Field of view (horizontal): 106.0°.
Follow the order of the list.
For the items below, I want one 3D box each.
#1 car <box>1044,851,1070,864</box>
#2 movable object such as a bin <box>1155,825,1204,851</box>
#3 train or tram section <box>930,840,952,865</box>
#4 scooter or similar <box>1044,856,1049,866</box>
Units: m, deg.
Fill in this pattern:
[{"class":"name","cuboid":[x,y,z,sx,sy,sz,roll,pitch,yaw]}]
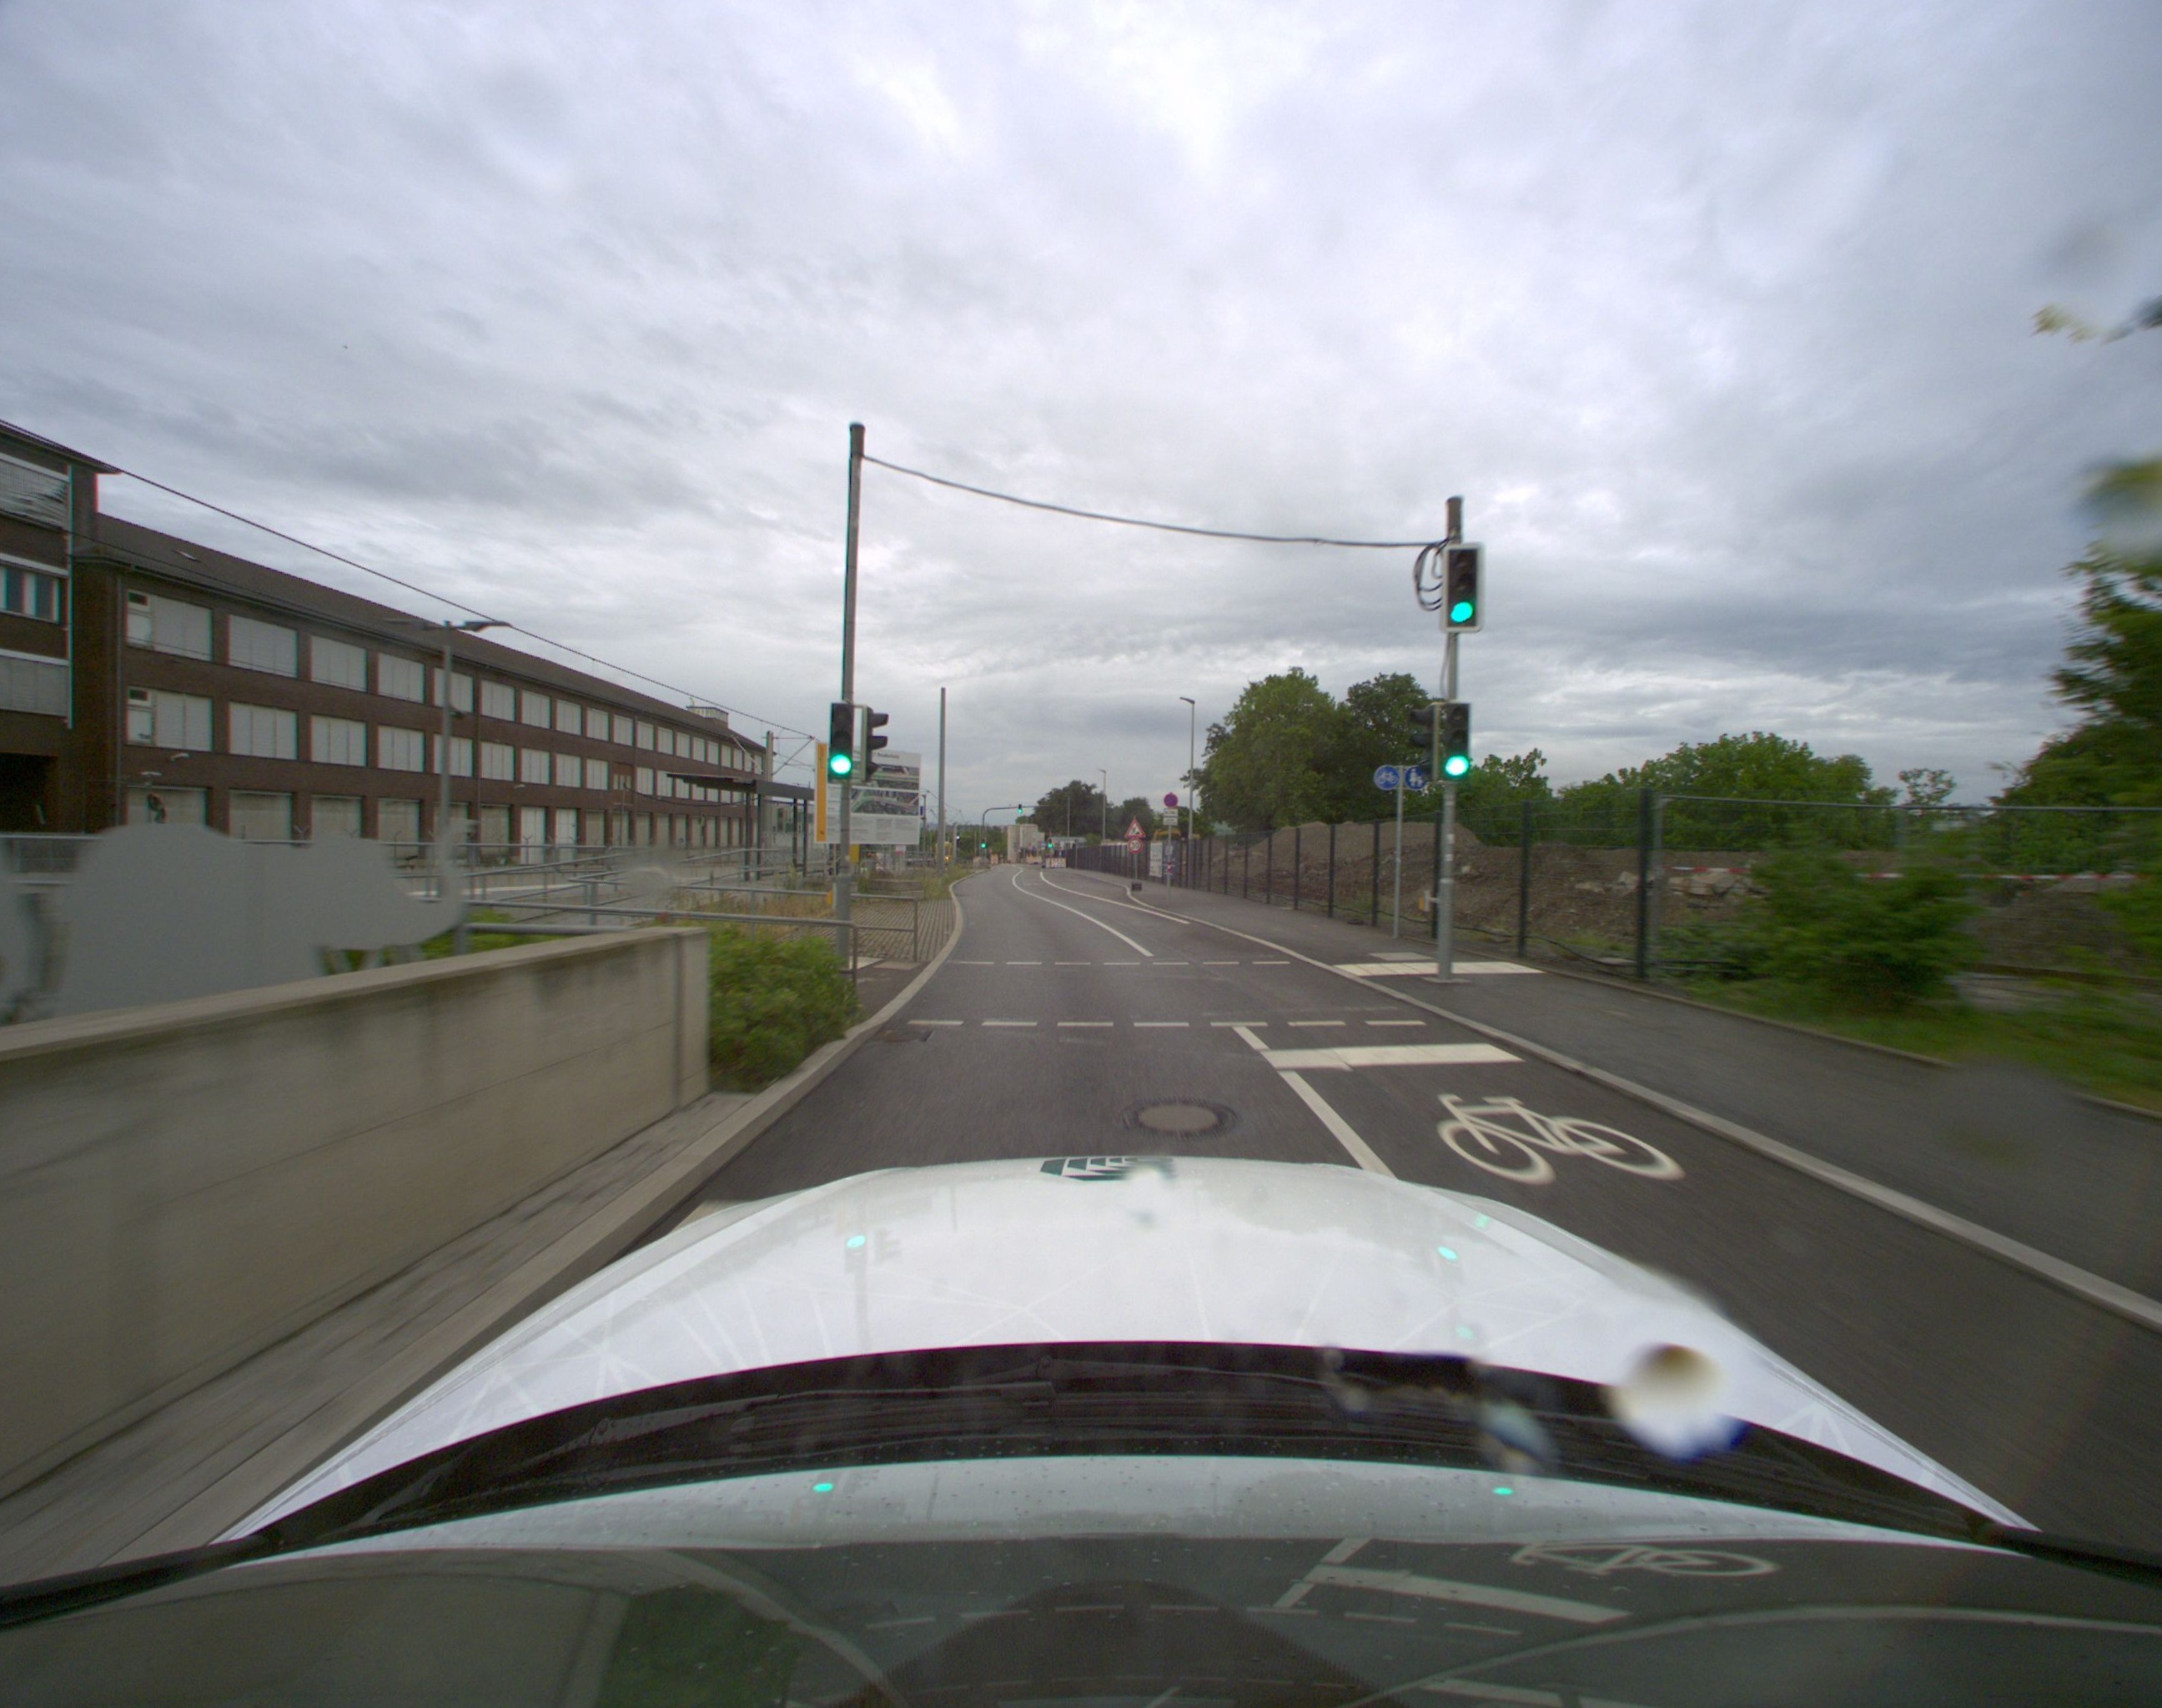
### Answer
[{"class":"car","cuboid":[-3.225,0.517,112.099,1.803,1.794,4.433,0,0,24]},{"class":"movable object such as a bin","cuboid":[23.178,-3.665,192.537,11.192,5.995,3.491,-1,-1,1]},{"class":"train or tram section","cuboid":[-23.350,-0.201,136.858,2.953,3.886,19.518,1,0,-8]},{"class":"scooter or similar","cuboid":[-4.482,0.906,106.177,0.613,1.351,1.911,0,0,0]}]
